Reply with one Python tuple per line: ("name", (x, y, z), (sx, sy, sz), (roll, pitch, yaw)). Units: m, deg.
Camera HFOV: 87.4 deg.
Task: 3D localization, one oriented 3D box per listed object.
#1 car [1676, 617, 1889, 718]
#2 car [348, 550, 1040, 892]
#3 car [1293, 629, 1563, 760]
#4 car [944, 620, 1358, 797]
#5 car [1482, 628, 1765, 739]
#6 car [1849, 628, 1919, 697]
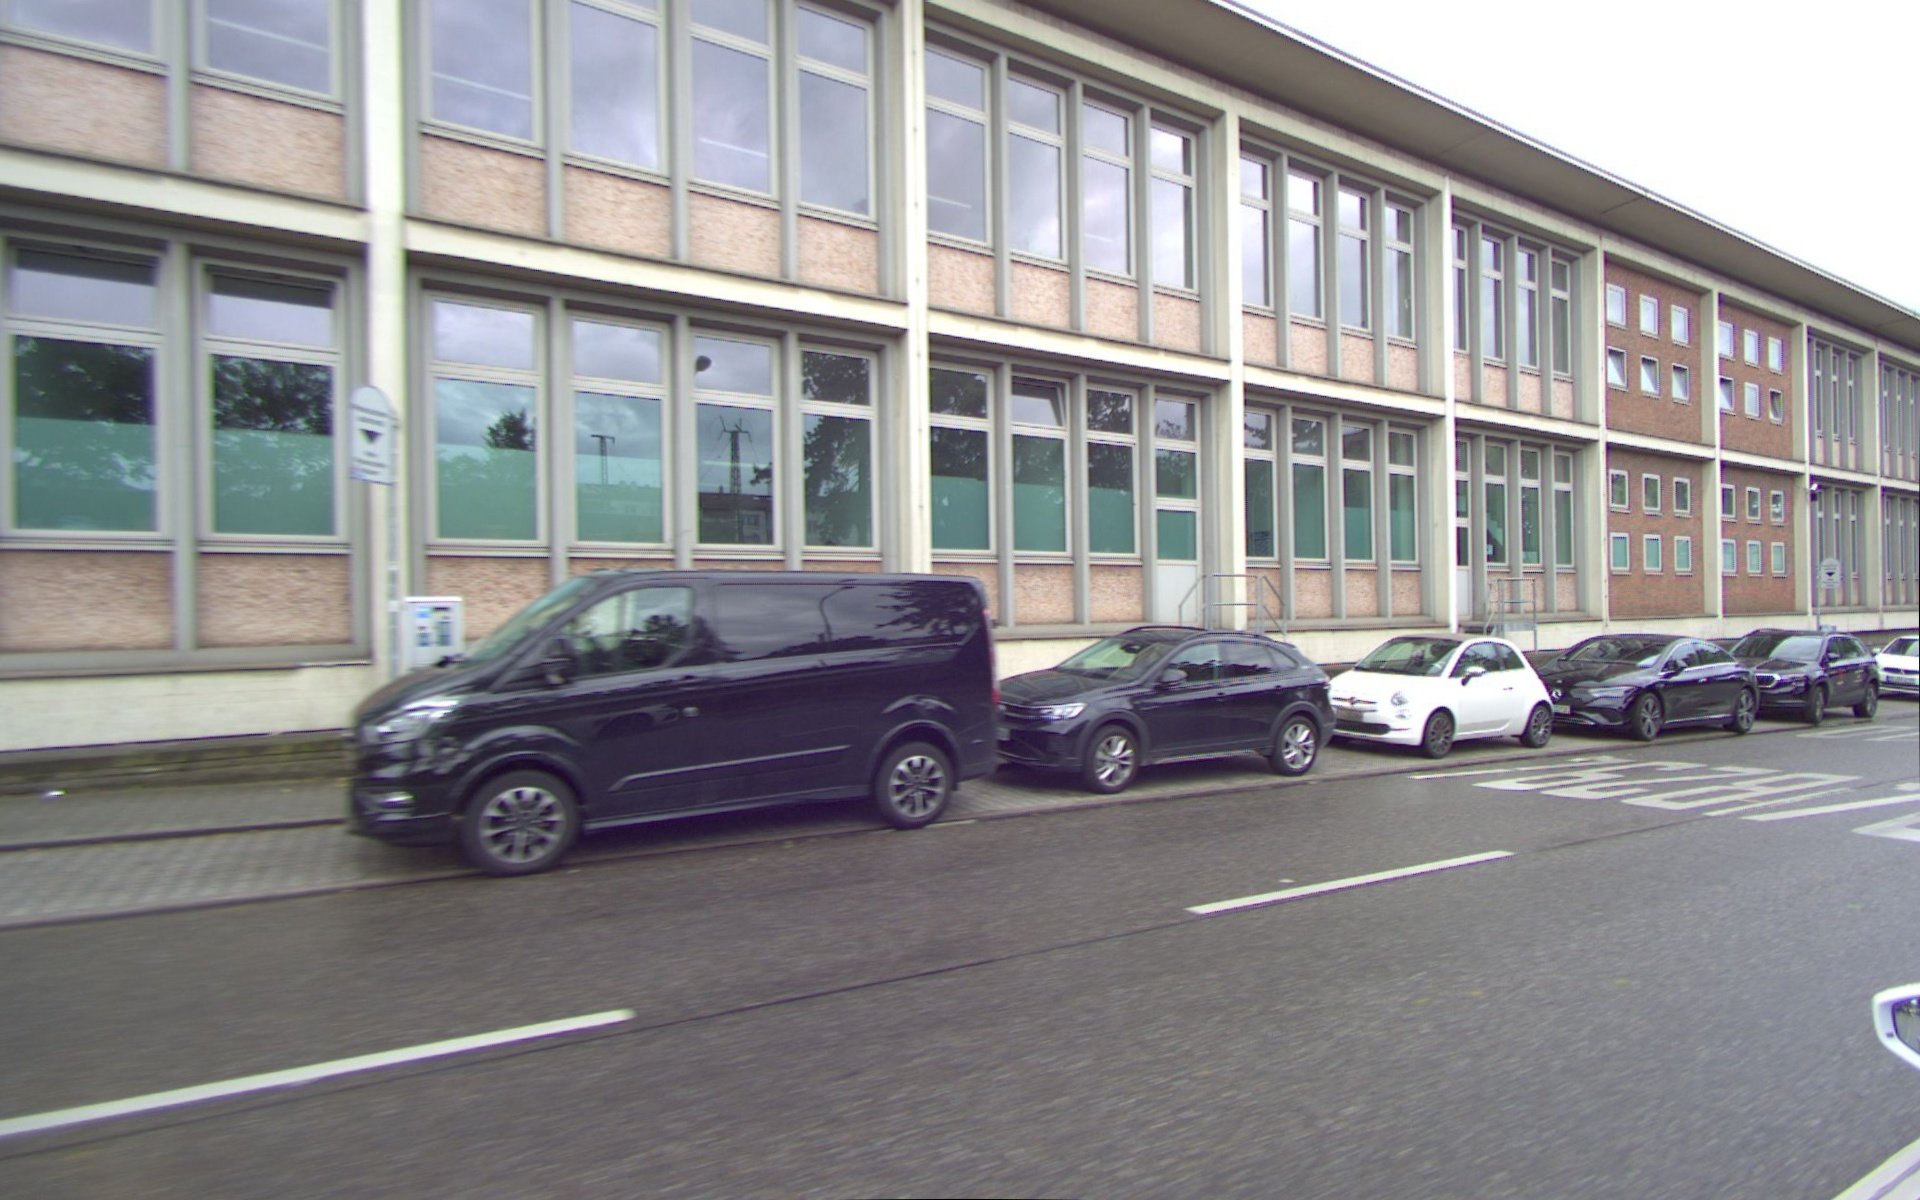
("car", (15.805, 1.239, 19.244), (4.466, 1.675, 1.831), (2, 0, -32))
("car", (-1.922, 0.729, 7.929), (4.940, 1.969, 1.938), (1, -1, -32))
("car", (6.282, 1.162, 13.425), (3.510, 1.503, 1.559), (1, -1, -30))
("car", (2.123, 1.008, 10.876), (4.261, 1.572, 1.852), (1, -1, -30))
("car", (10.610, 1.218, 15.966), (4.851, 1.503, 1.807), (1, -1, -30))
("car", (23.422, 1.488, 24.399), (3.876, 1.543, 1.671), (1, -1, -31))
